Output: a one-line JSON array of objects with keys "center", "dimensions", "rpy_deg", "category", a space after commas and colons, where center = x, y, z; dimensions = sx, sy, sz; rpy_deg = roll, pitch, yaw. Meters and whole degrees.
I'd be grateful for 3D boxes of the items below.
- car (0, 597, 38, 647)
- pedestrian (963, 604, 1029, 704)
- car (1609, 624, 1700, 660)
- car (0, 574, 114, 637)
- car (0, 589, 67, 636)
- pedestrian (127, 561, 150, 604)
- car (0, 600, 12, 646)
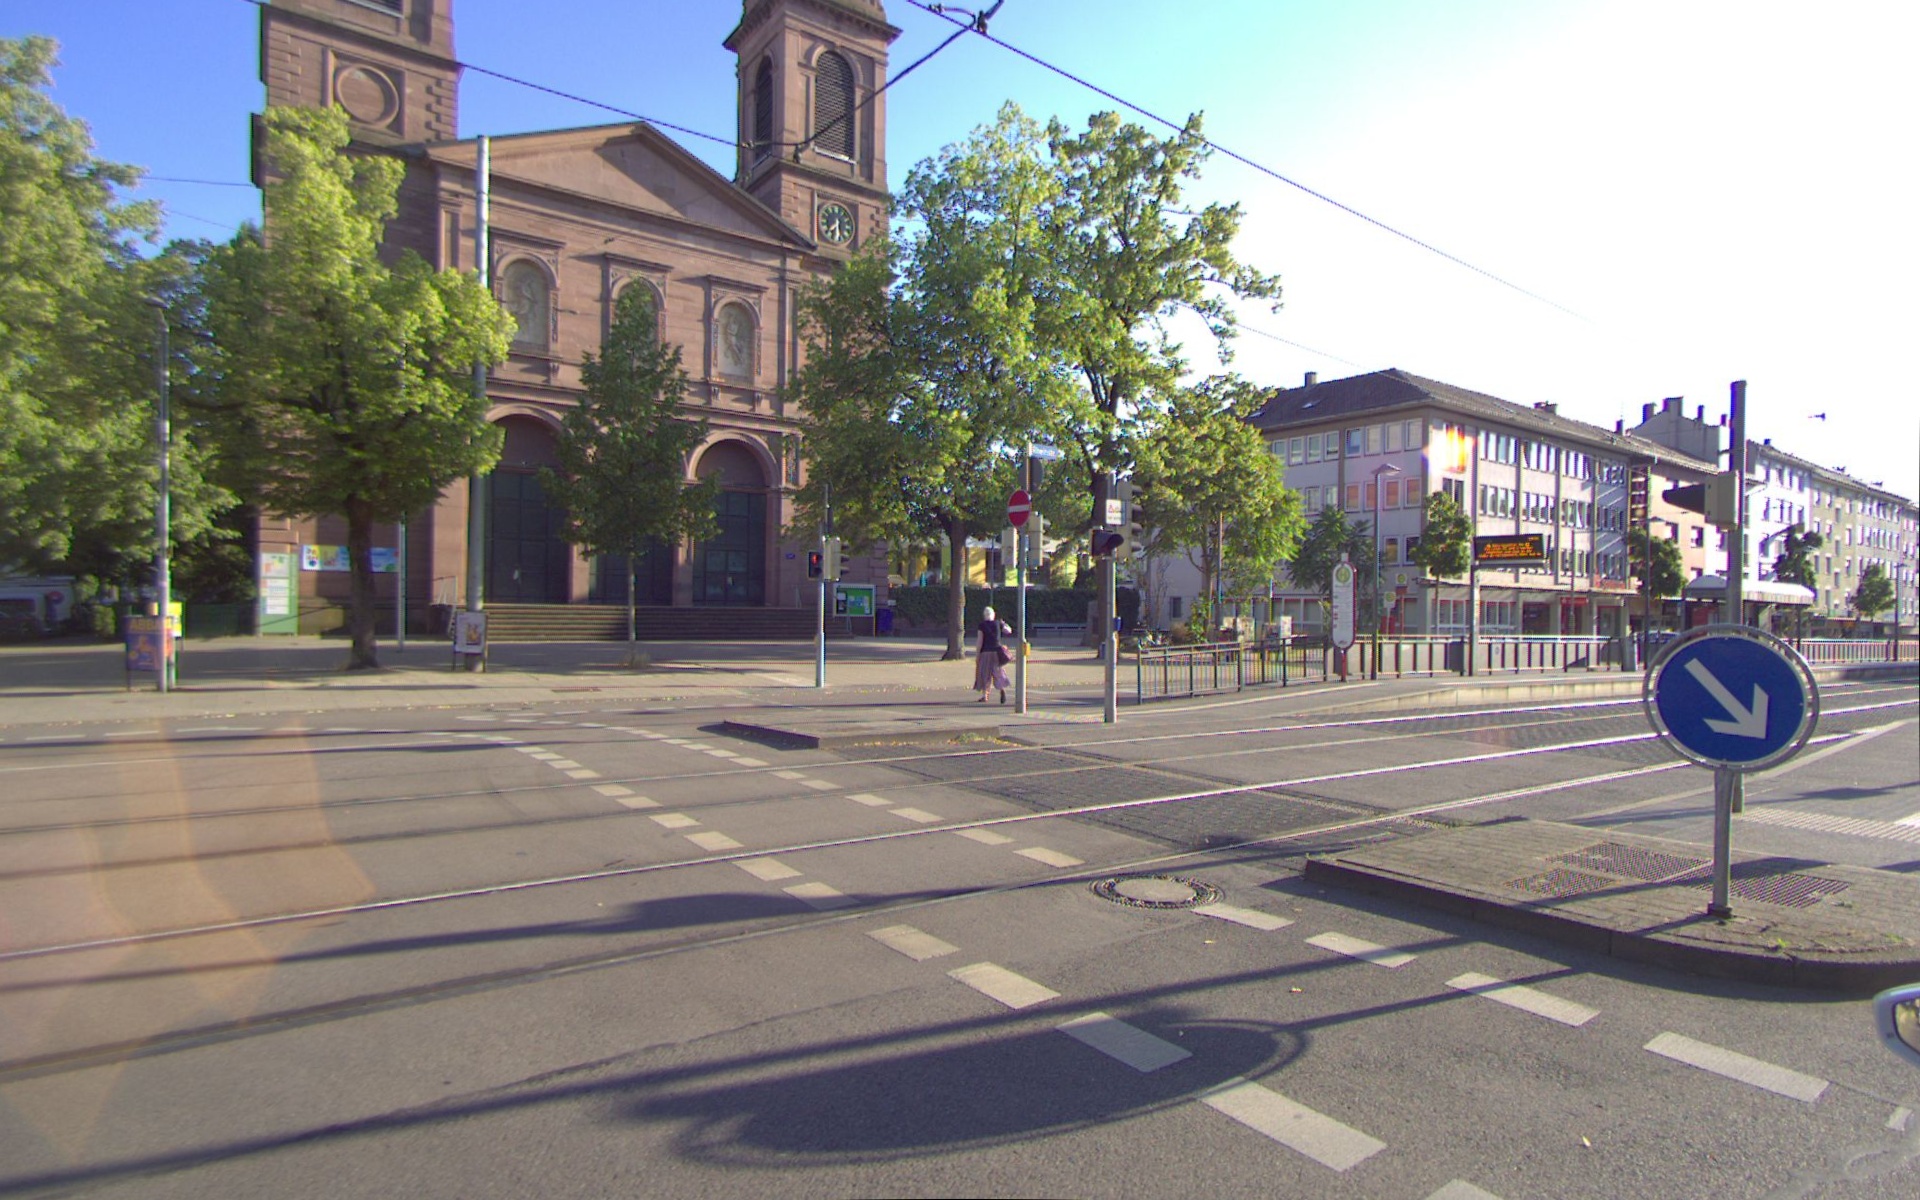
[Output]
[{"center": [-32.820, 0.685, 32.618], "dimensions": [3.960, 1.639, 1.872], "rpy_deg": [1, -1, -35], "category": "car"}, {"center": [0.658, 0.976, 18.507], "dimensions": [0.823, 1.783, 0.913], "rpy_deg": [2, -1, -34], "category": "pedestrian"}, {"center": [35.960, 2.156, 52.057], "dimensions": [3.440, 1.702, 1.771], "rpy_deg": [1, 0, 3], "category": "car"}, {"center": [-38.295, 0.235, 41.365], "dimensions": [5.063, 2.552, 1.980], "rpy_deg": [1, -1, -35], "category": "car"}, {"center": [-35.656, 0.418, 36.427], "dimensions": [4.664, 1.684, 1.980], "rpy_deg": [1, -1, -36], "category": "car"}, {"center": [-34.777, -0.747, 42.537], "dimensions": [0.685, 1.789, 0.732], "rpy_deg": [1, 0, -36], "category": "pedestrian"}, {"center": [-31.549, 0.688, 30.365], "dimensions": [3.960, 1.417, 1.799], "rpy_deg": [0, 0, -35], "category": "car"}]
